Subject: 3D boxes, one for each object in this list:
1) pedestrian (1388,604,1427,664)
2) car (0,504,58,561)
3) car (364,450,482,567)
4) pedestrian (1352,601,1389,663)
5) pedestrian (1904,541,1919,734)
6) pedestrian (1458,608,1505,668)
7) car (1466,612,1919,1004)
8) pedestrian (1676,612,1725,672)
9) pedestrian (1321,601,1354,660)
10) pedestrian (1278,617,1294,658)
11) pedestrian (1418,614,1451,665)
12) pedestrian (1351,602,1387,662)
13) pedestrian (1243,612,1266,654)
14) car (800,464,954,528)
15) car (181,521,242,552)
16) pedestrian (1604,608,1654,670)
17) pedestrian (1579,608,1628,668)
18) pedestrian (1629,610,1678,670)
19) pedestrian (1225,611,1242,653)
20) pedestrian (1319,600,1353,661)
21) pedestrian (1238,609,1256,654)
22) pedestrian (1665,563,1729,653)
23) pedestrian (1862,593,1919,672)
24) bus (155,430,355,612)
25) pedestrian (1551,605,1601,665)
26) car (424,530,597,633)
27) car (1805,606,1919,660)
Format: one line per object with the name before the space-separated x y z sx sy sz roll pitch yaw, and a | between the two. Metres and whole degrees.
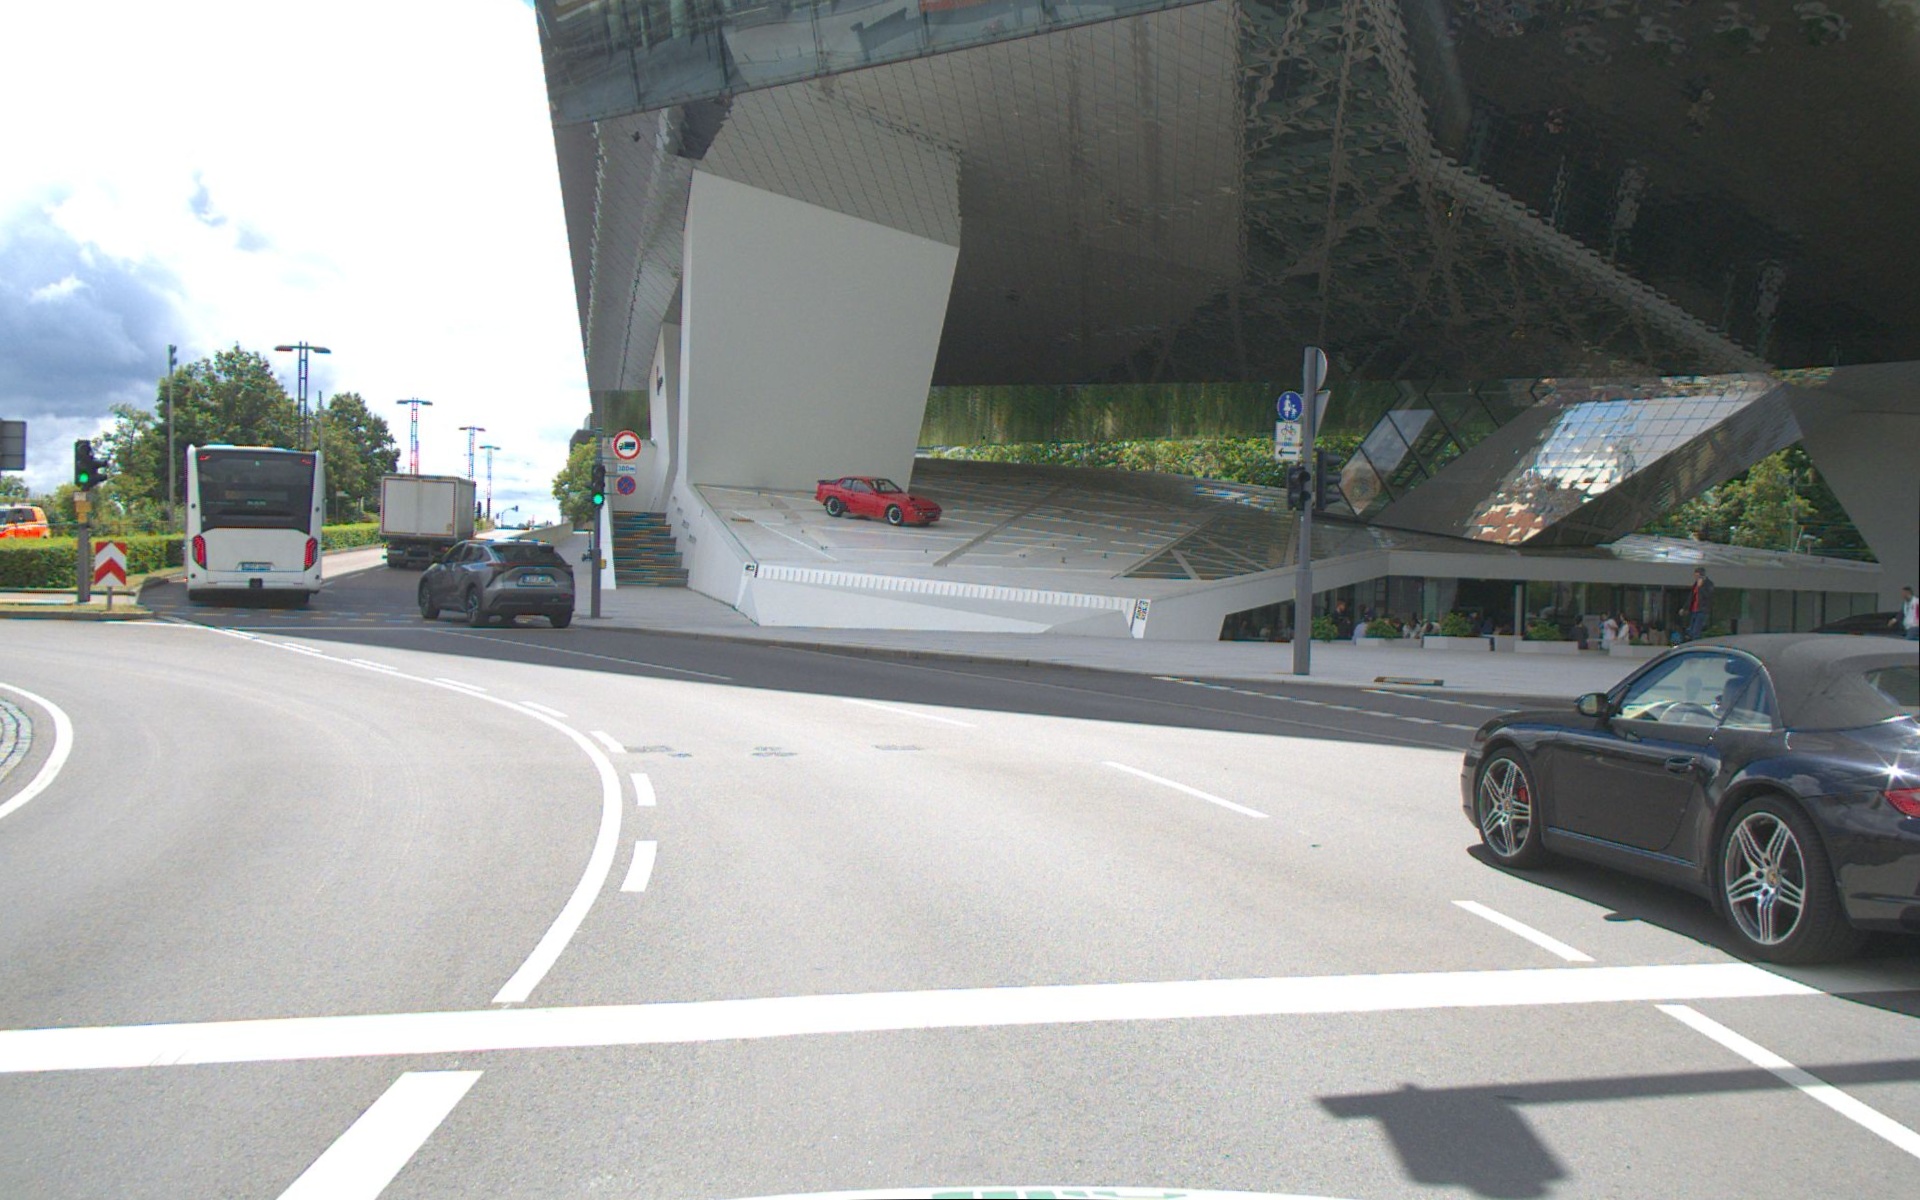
pedestrian | 12.211 0.918 45.134 0.781 1.600 0.690 2 -1 40
car | -34.728 -2.452 60.158 1.958 2.018 4.825 1 2 -11
car | -19.393 -3.150 60.297 3.279 3.565 9.307 3 -1 -14
pedestrian | 11.056 0.860 44.489 0.901 1.600 0.831 2 -1 15
pedestrian | 10.479 0.421 16.816 0.933 2.019 1.382 2 2 4
pedestrian | 14.475 1.052 45.898 0.816 1.600 0.918 3 -1 -21
car | 4.089 0.770 7.729 1.799 1.348 3.993 1 0 -7
pedestrian | 20.392 1.159 45.545 0.814 1.600 0.920 3 -1 -14
pedestrian | 10.525 0.856 46.111 0.810 1.600 0.924 2 -1 15
pedestrian | 10.318 1.196 52.386 0.462 1.275 0.562 2 -1 10
pedestrian | 12.808 1.067 44.623 0.632 1.341 0.691 2 -1 36
pedestrian | 11.343 0.888 45.820 0.901 1.600 0.831 2 -1 15
pedestrian | 9.041 1.008 50.807 0.549 1.275 0.473 2 -1 28
car | -2.580 -3.230 50.974 4.426 1.417 1.994 10 9 34
car | -38.074 -3.264 84.252 1.723 1.421 4.663 3 3 -11
pedestrian | 18.057 1.047 44.646 0.816 1.600 0.918 3 -1 -21
pedestrian | 17.736 1.037 45.582 0.816 1.600 0.918 3 -1 -21
pedestrian | 19.094 1.103 45.550 0.816 1.600 0.918 3 -1 -21
pedestrian | 8.284 0.967 50.081 0.386 1.275 0.561 2 -1 -1
pedestrian | 10.213 0.828 44.960 0.810 1.600 0.924 2 -1 11
pedestrian | 8.198 0.896 47.196 0.386 1.275 0.400 2 -1 -1
pedestrian | 15.748 0.174 35.352 0.816 1.858 0.918 3 -1 -21
pedestrian | 20.463 0.707 36.221 0.816 1.705 0.918 3 -1 -21
bus | -16.544 -1.906 38.147 3.037 3.419 12.113 3 2 -28
pedestrian | 16.693 0.944 44.830 0.816 1.600 0.918 3 -1 -21
car | -8.637 -0.385 31.570 1.976 1.664 3.954 2 3 -35
car | 23.883 0.871 41.248 1.985 1.242 4.602 3 -1 -44
